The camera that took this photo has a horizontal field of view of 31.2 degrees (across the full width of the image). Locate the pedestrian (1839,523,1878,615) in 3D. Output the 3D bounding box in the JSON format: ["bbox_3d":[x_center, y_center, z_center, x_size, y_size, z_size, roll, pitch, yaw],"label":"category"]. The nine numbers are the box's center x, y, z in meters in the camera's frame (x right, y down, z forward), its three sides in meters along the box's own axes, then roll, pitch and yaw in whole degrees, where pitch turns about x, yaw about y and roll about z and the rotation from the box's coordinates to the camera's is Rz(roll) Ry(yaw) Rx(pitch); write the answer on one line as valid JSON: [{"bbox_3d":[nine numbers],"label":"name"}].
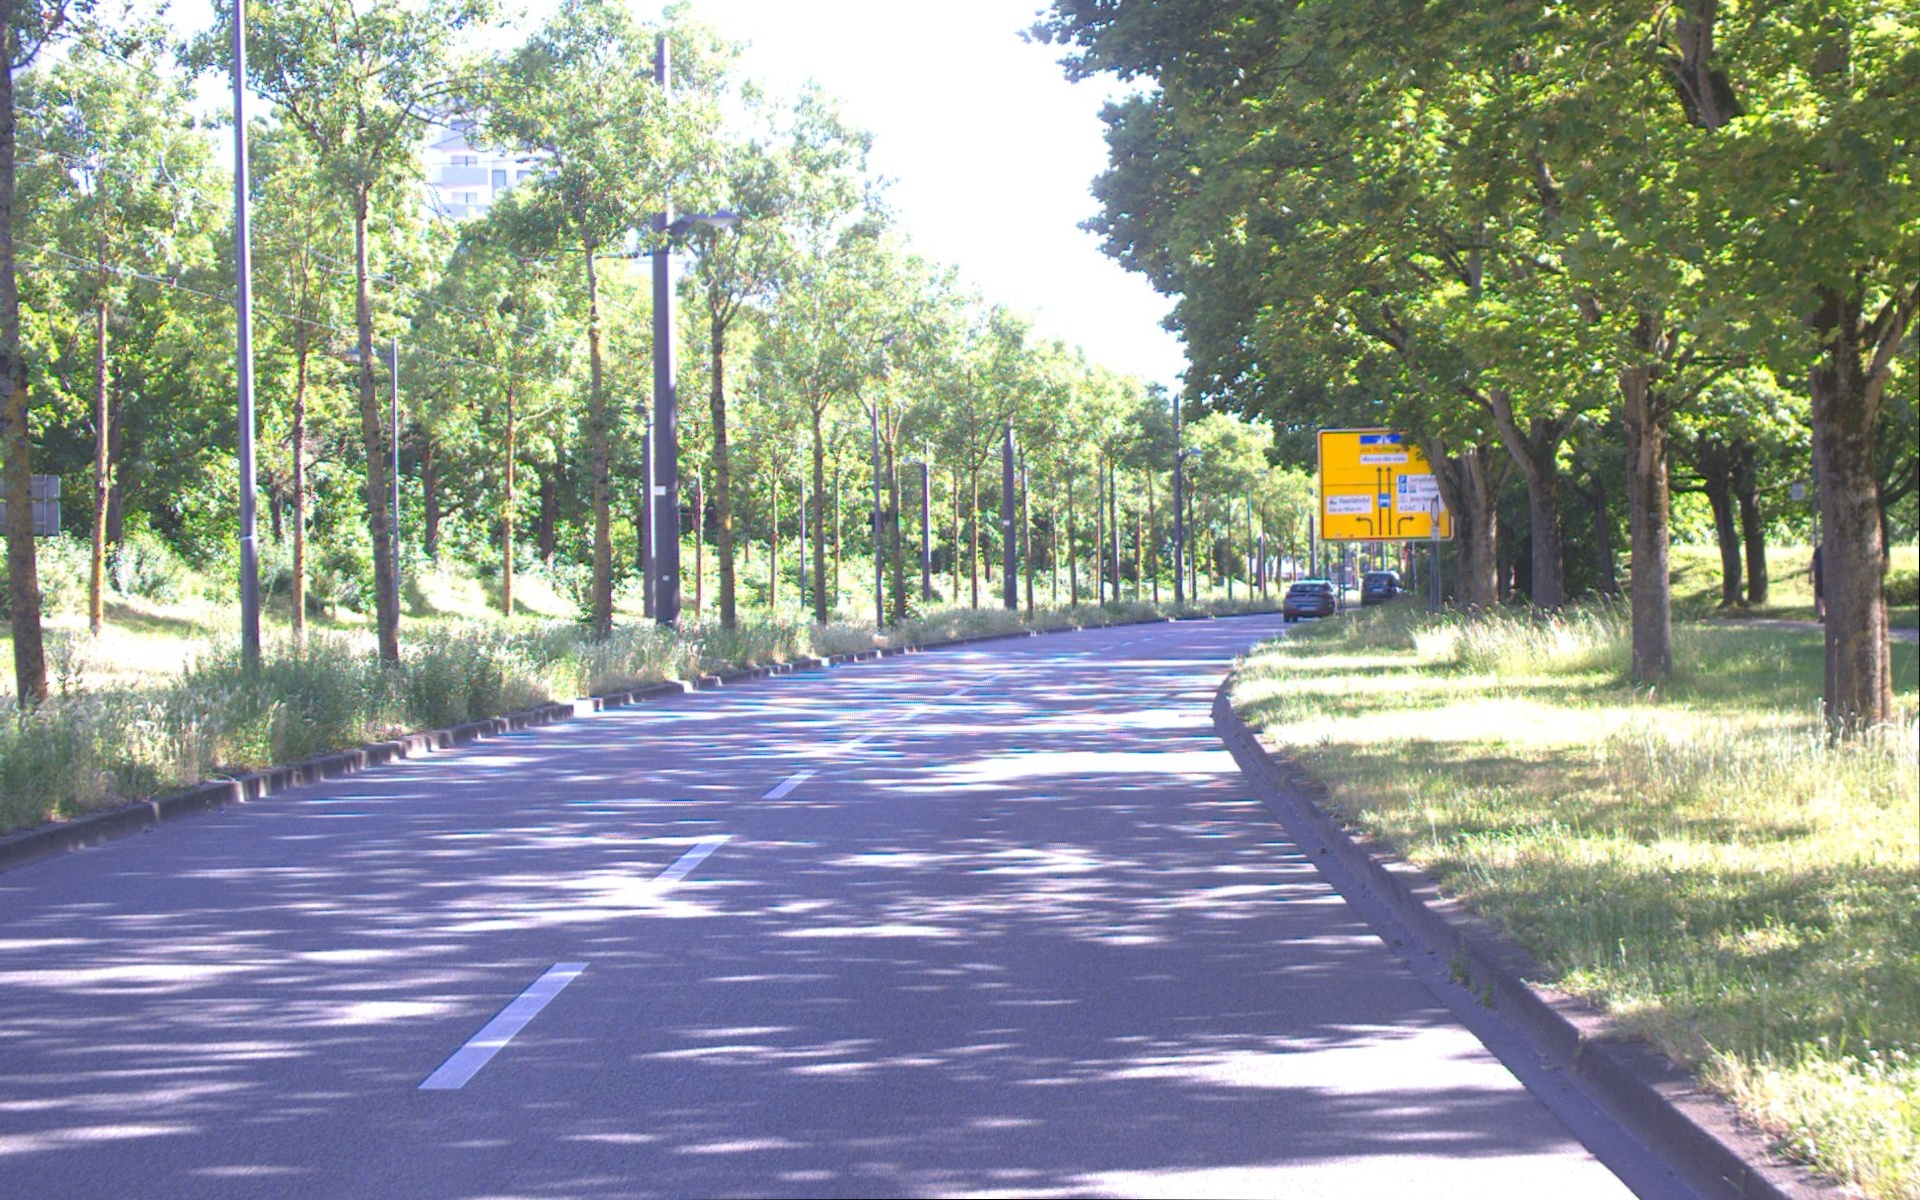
[{"bbox_3d":[16.777,-0.574,64.160,0.636,1.686,0.843,-1,0,17],"label":"pedestrian"}]

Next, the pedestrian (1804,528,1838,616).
[{"bbox_3d":[16.132,-0.526,64.417,0.547,1.616,0.843,-1,0,17],"label":"pedestrian"}]

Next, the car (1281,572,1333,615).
[{"bbox_3d":[12.251,-0.254,121.329,1.635,1.493,4.233,0,0,8],"label":"car"}]

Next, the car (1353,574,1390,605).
[{"bbox_3d":[20.502,-0.526,171.150,1.635,1.493,4.233,0,0,9],"label":"car"}]
